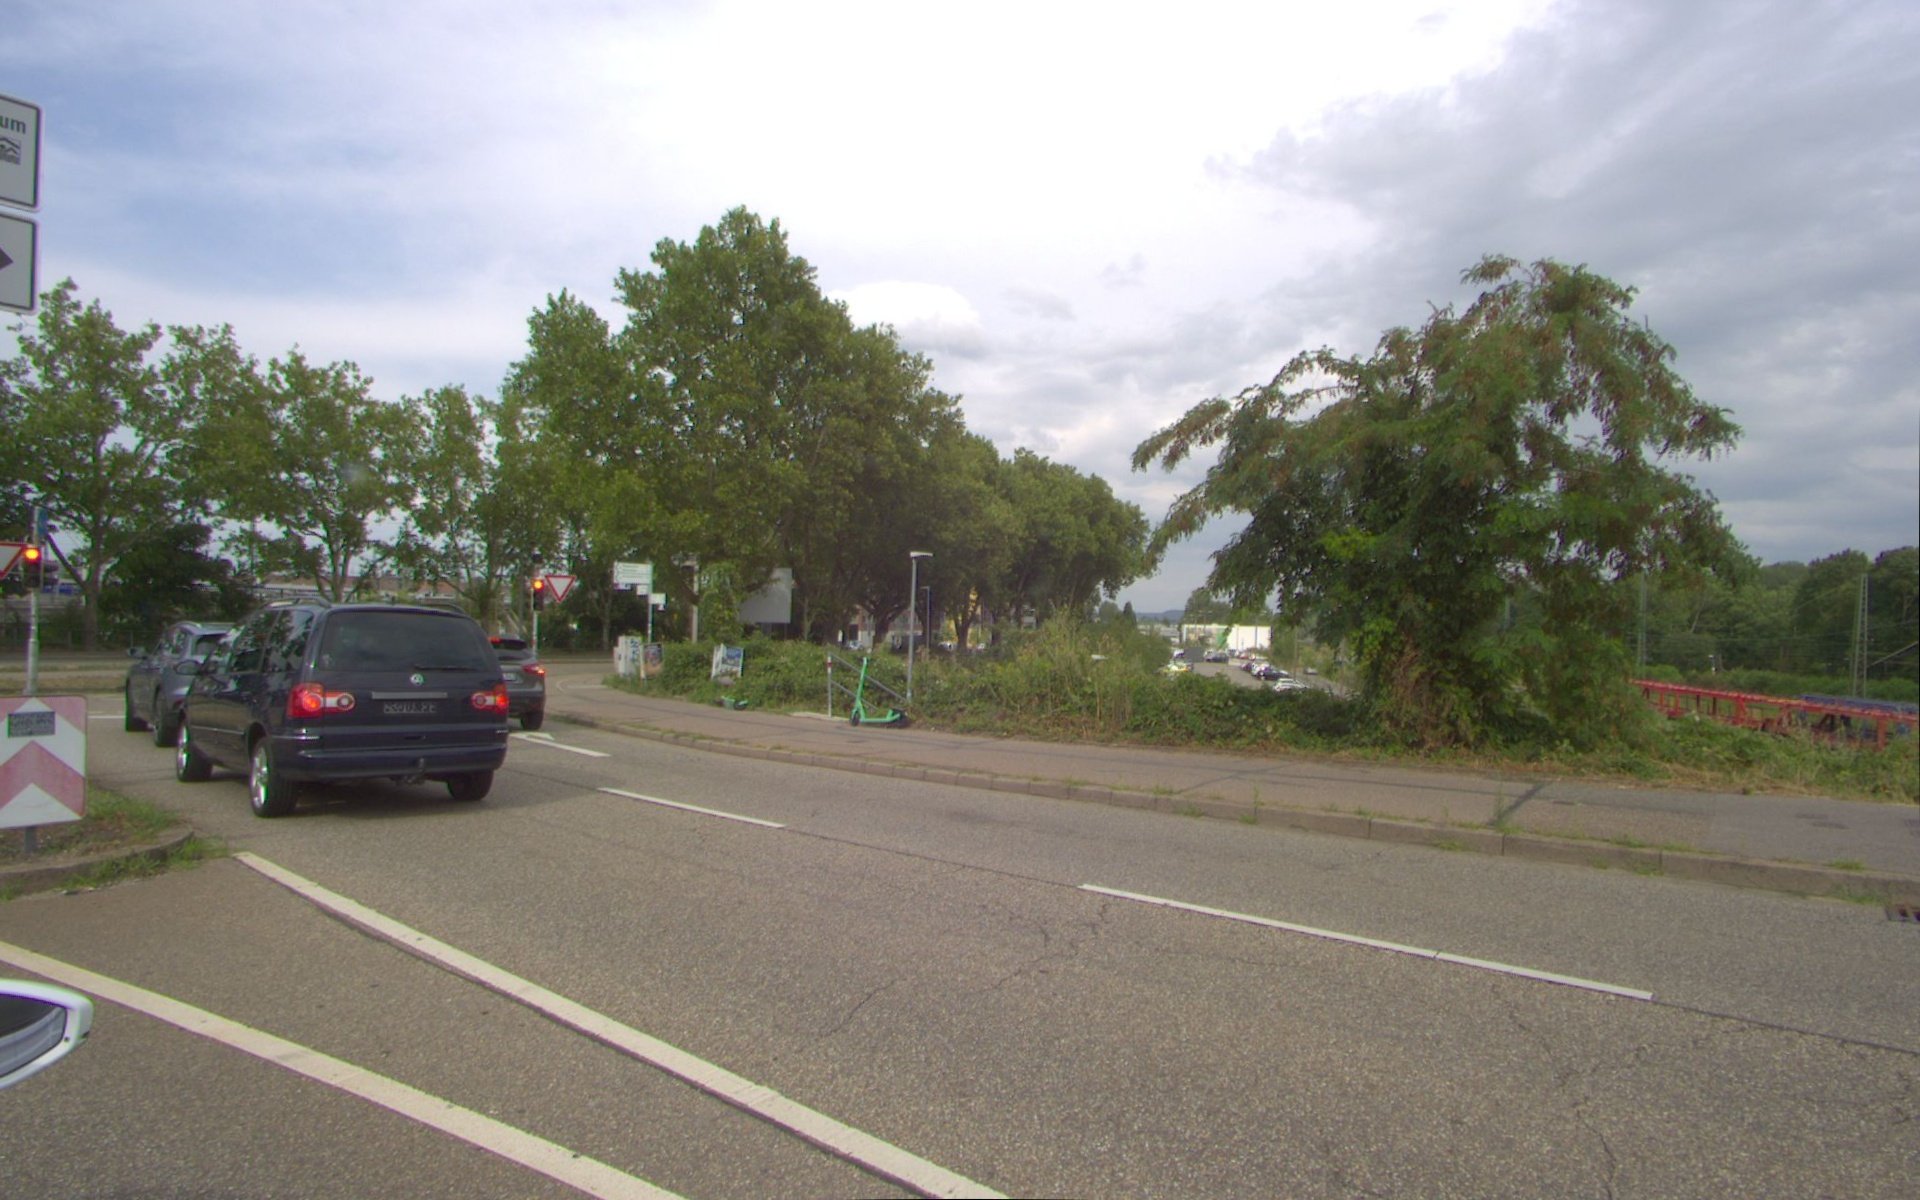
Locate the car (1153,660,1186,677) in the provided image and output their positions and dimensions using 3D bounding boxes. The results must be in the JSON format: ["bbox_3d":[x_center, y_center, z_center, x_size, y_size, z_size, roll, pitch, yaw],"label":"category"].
[{"bbox_3d":[26.729,8.695,127.659,3.926,2.040,1.761,1,-1,16],"label":"car"}]

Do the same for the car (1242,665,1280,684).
[{"bbox_3d":[34.712,8.595,115.619,3.923,2.040,1.762,1,-1,10],"label":"car"}]

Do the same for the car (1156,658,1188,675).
[{"bbox_3d":[28.033,8.840,132.488,3.926,2.040,1.761,1,-1,16],"label":"car"}]

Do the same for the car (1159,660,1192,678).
[{"bbox_3d":[26.859,8.629,124.760,3.926,2.040,1.761,1,-1,16],"label":"car"}]

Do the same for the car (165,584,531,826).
[{"bbox_3d":[-5.786,0.854,9.262,4.092,1.746,1.743,-2,-4,42],"label":"car"}]

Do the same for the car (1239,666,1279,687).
[{"bbox_3d":[32.914,8.426,110.263,3.923,2.040,1.762,1,-1,10],"label":"car"}]

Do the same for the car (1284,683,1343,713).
[{"bbox_3d":[26.905,7.482,76.356,3.923,2.040,1.762,1,-1,10],"label":"car"}]

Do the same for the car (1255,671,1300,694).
[{"bbox_3d":[31.238,8.110,98.576,3.923,2.040,1.762,1,-1,10],"label":"car"}]

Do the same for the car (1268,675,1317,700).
[{"bbox_3d":[30.036,7.890,90.484,3.923,2.040,1.762,1,-1,10],"label":"car"}]

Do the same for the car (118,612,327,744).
[{"bbox_3d":[-10.534,1.047,14.190,4.113,1.604,1.682,-2,-4,44],"label":"car"}]

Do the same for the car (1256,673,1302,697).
[{"bbox_3d":[30.187,7.996,94.805,3.923,2.040,1.762,1,-1,10],"label":"car"}]

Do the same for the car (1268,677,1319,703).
[{"bbox_3d":[28.983,7.787,87.171,3.923,2.040,1.762,1,-1,10],"label":"car"}]

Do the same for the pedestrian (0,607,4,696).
[{"bbox_3d":[-18.886,0.984,18.949,1.039,1.732,0.846,3,-2,-40],"label":"pedestrian"}]

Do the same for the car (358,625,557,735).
[{"bbox_3d":[-8.727,1.308,17.228,4.094,1.663,1.742,-2,-4,44],"label":"car"}]

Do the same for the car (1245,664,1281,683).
[{"bbox_3d":[36.136,8.721,119.564,3.923,2.040,1.762,1,-1,10],"label":"car"}]

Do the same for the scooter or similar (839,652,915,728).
[{"bbox_3d":[-1.365,1.457,16.432,1.262,1.198,0.396,-1,-1,32],"label":"scooter or similar"}]

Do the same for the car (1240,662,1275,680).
[{"bbox_3d":[36.933,8.854,124.396,3.923,2.040,1.762,1,-1,10],"label":"car"}]

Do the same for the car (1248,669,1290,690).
[{"bbox_3d":[32.124,8.265,104.234,3.923,2.040,1.762,1,-1,10],"label":"car"}]
